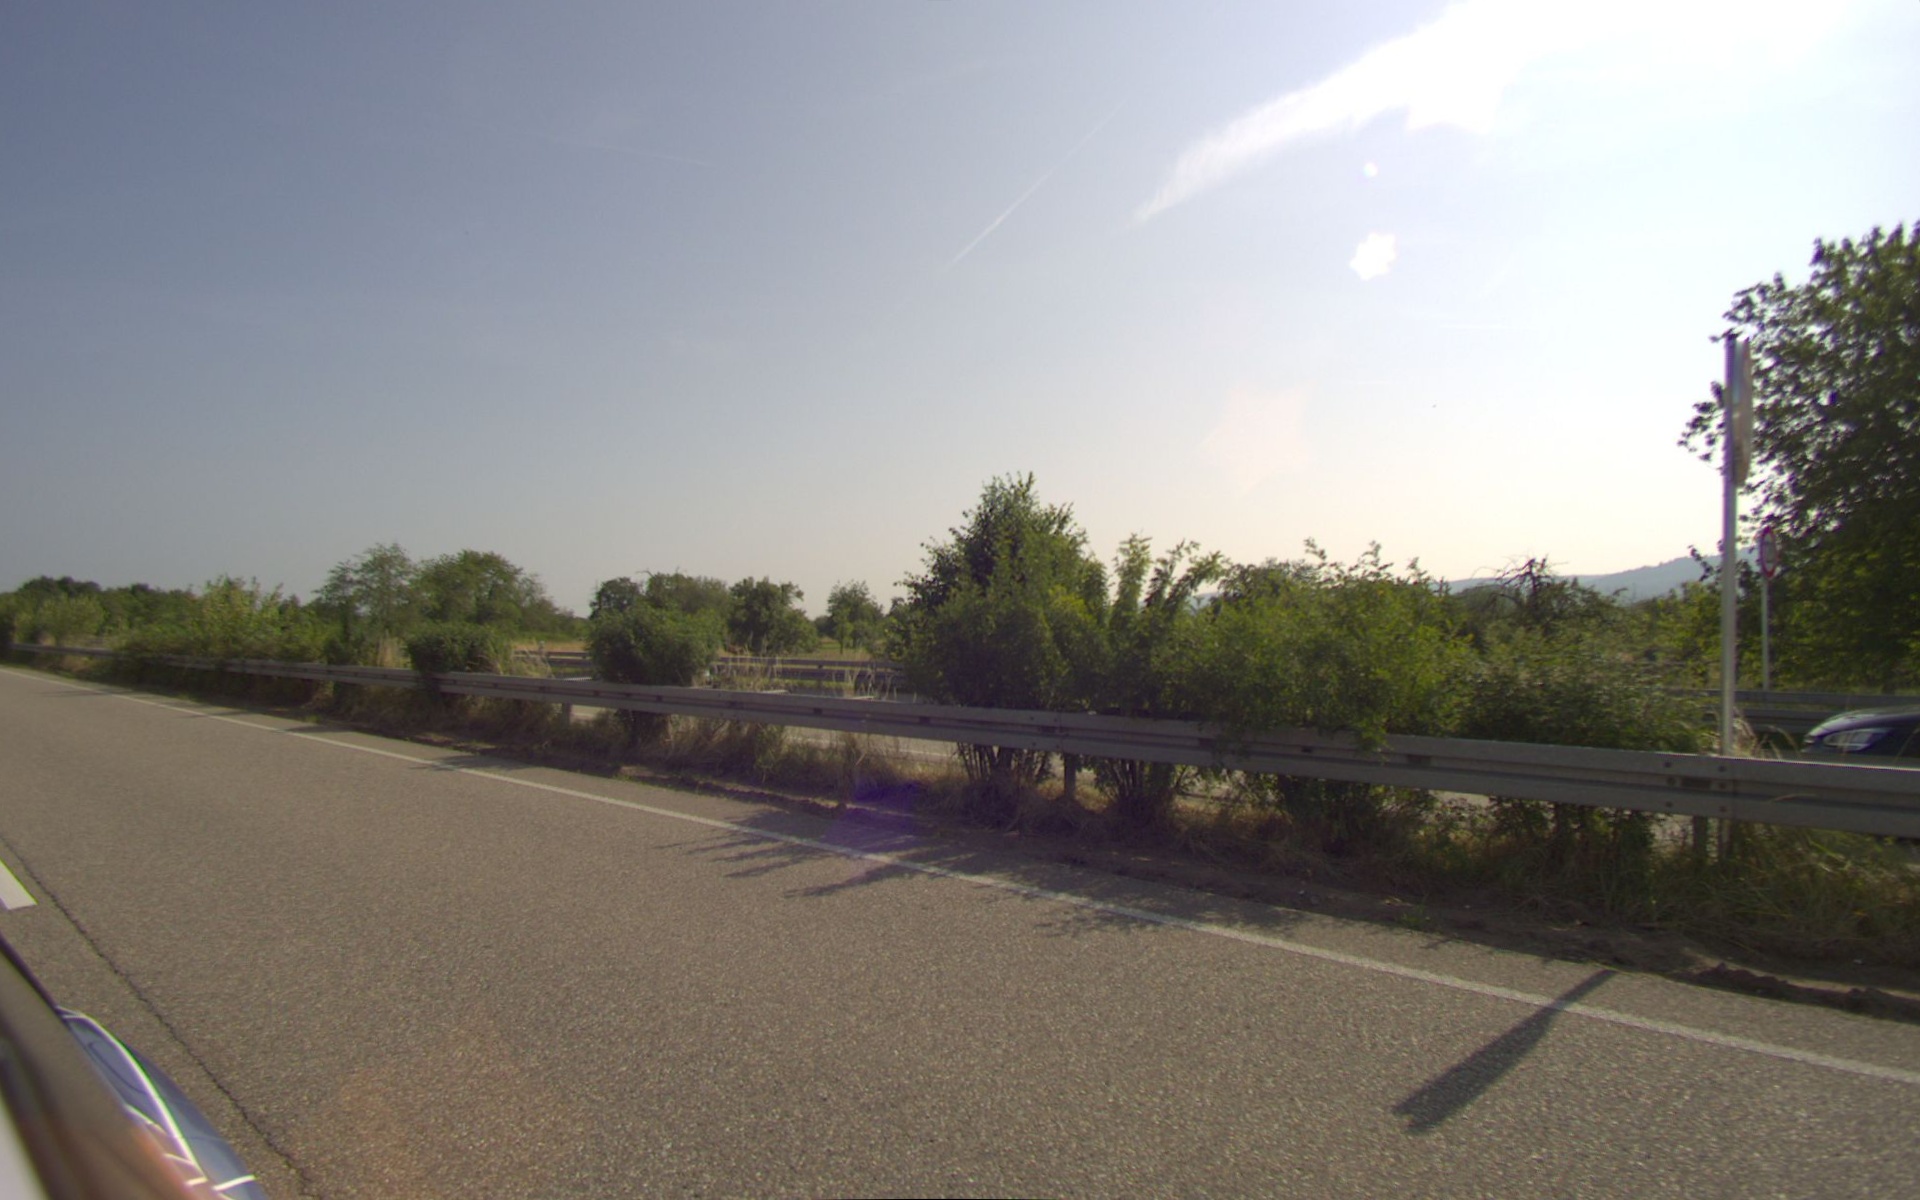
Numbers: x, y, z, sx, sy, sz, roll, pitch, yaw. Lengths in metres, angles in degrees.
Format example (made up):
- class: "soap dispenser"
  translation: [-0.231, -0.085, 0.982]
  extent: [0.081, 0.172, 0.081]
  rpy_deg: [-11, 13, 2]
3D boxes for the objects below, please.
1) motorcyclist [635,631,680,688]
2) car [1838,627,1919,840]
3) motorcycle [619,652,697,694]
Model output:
- class: "motorcyclist"
  translation: [-7.472, 1.467, 25.018]
  extent: [0.807, 1.358, 0.697]
  rpy_deg: [-2, -4, 41]
- class: "car"
  translation: [8.260, 0.899, 6.408]
  extent: [4.034, 1.442, 1.541]
  rpy_deg: [-2, -3, 41]
- class: "motorcycle"
  translation: [-7.477, 1.790, 25.006]
  extent: [2.283, 0.971, 0.697]
  rpy_deg: [-2, -4, 41]
